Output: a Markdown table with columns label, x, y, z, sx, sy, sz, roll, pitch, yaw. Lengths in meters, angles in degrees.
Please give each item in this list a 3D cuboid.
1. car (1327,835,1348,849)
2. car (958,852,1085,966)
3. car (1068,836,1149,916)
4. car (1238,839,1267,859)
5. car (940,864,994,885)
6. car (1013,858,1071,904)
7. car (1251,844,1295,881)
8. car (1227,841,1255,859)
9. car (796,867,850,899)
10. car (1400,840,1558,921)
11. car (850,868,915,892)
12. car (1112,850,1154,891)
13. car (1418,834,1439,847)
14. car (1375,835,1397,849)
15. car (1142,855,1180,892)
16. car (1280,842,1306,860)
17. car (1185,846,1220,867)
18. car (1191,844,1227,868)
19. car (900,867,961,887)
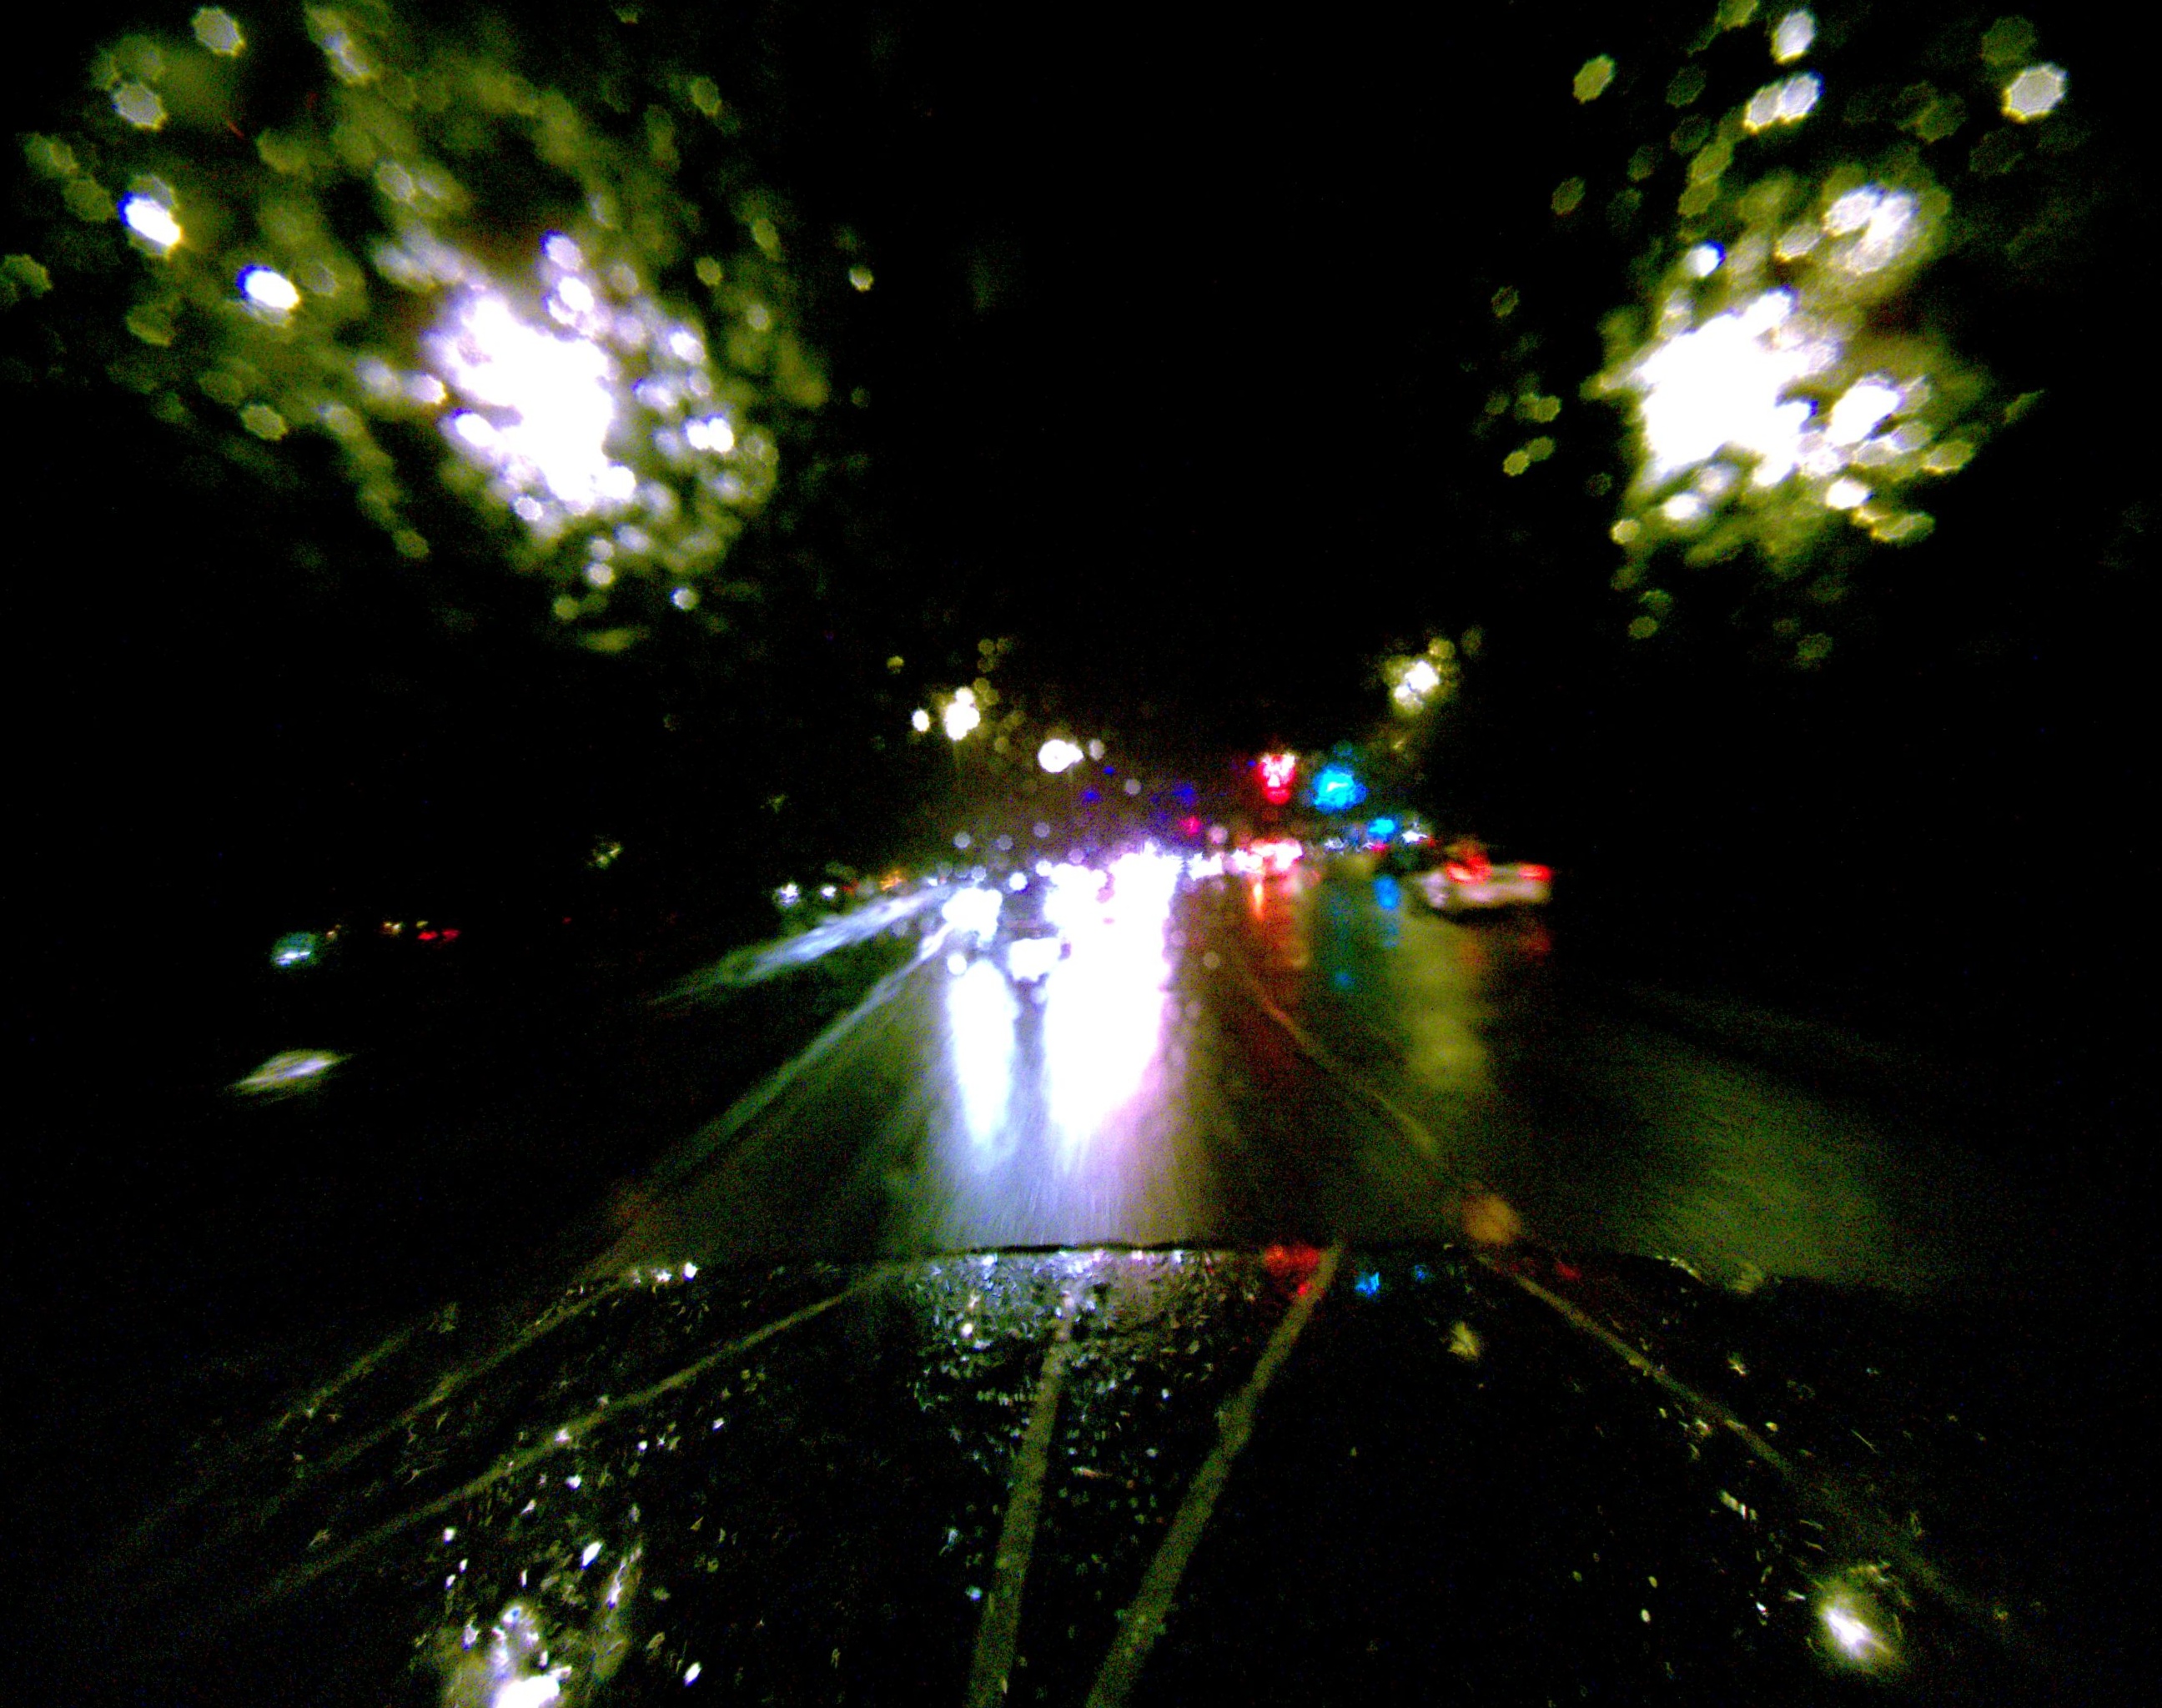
| label | x | y | z | sx | sy | sz | roll | pitch | yaw |
| --- | --- | --- | --- | --- | --- | --- | --- | --- | --- |
| car | 38.844 | -1.841 | 115.137 | 1.865 | 2.001 | 4.007 | -4 | -1 | 34 |
| car | -1.001 | 0.851 | 13.940 | 1.928 | 1.704 | 4.238 | -2 | 0 | -2 |
| car | 0.762 | 0.561 | 21.729 | 1.998 | 2.002 | 4.000 | -3 | 0 | 1 |
| car | 18.437 | -0.555 | 81.527 | 1.866 | 2.001 | 4.007 | -3 | -1 | 29 |
| car | -9.633 | 1.743 | 64.162 | 4.108 | 1.630 | 2.003 | -2 | 0 | 29 |
| car | -1.498 | 1.038 | 30.826 | 2.046 | 1.610 | 4.287 | -3 | -1 | -1 |
| car | 9.964 | 0.401 | 39.413 | 2.002 | 1.665 | 4.622 | -3 | 0 | 15 |
| car | 18.667 | -0.488 | 88.351 | 1.866 | 2.001 | 4.007 | -3 | -1 | 31 |
| car | -21.107 | 2.376 | 62.142 | 3.991 | 2.003 | 1.765 | -7 | 3 | 32 |
| car | 8.481 | 0.503 | 16.603 | 1.770 | 1.508 | 3.951 | -2 | 0 | 7 |
| car | -15.358 | 2.023 | 58.763 | 4.770 | 1.630 | 2.004 | -2 | 0 | 31 |
| car | 2.650 | 0.792 | 38.106 | 1.305 | 1.519 | 3.047 | -22 | -2 | 10 |
| car | 45.314 | -1.791 | 99.112 | 1.987 | 1.595 | 4.842 | -2 | 0 | 31 |
| car | 36.266 | -1.385 | 90.173 | 1.987 | 1.595 | 4.842 | -2 | 0 | 27 |
| car | 5.832 | 1.392 | 55.019 | 1.997 | 2.003 | 4.001 | -8 | 3 | 14 |
| car | 26.095 | -0.396 | 93.311 | 1.865 | 2.001 | 4.007 | -3 | -1 | 33 |
| car | 12.875 | 0.275 | 80.318 | 1.995 | 2.001 | 4.008 | -4 | -1 | 36 |
| car | 11.742 | 0.194 | 69.455 | 1.995 | 2.001 | 4.007 | -3 | -1 | 28 |
| car | -12.089 | 1.879 | 60.886 | 4.534 | 1.400 | 2.004 | -2 | 0 | 31 |
